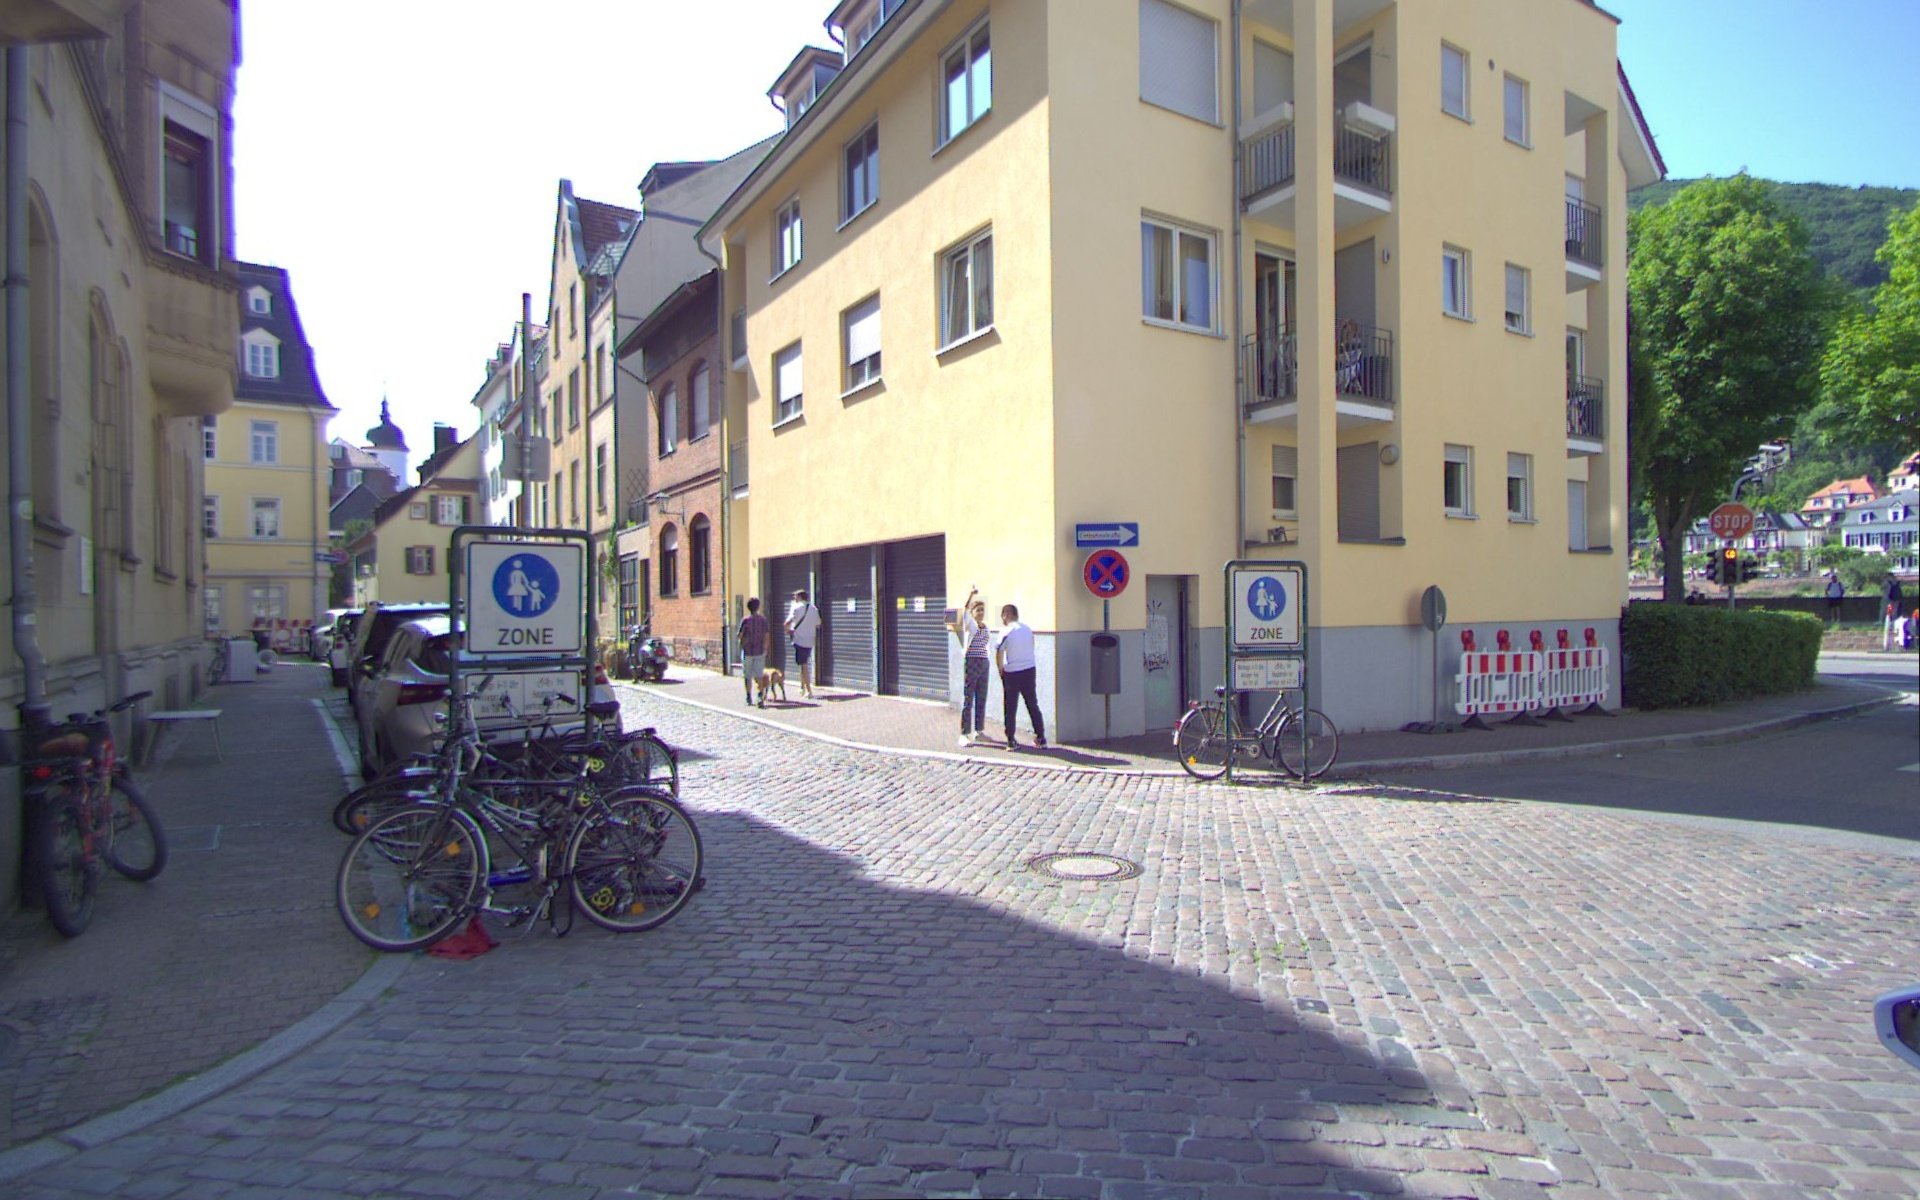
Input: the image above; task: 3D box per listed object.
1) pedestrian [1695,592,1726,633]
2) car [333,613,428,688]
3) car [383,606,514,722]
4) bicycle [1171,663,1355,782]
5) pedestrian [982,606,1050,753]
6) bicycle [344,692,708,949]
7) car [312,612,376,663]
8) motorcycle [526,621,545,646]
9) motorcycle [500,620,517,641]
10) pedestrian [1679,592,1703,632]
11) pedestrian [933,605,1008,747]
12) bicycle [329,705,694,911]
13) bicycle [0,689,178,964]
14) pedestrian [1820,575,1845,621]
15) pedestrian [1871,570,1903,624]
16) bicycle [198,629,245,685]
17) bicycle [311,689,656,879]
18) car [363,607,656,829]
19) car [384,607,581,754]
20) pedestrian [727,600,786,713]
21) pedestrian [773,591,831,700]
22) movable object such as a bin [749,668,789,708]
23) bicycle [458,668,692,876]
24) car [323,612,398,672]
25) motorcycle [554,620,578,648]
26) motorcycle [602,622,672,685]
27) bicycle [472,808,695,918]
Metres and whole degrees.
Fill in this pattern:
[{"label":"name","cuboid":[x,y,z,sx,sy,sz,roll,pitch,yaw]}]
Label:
[{"label":"pedestrian","cuboid":[28.247,0.469,37.818,1.369,1.499,0.464,0,0,-32]},{"label":"car","cuboid":[-13.018,1.066,22.464,1.645,1.462,3.825,1,0,-33]},{"label":"car","cuboid":[-8.586,0.962,16.711,1.552,1.657,3.825,1,0,-33]},{"label":"bicycle","cuboid":[3.055,1.205,10.106,1.879,1.093,0.390,0,-1,-17]},{"label":"pedestrian","cuboid":[0.640,0.892,11.514,0.646,1.639,0.491,0,0,-17]},{"label":"bicycle","cuboid":[-2.102,1.052,5.017,1.617,1.100,0.284,0,3,-20]},{"label":"car","cuboid":[-19.849,1.166,32.322,1.645,1.462,3.825,1,0,-33]},{"label":"motorcycle","cuboid":[-17.078,1.357,40.398,0.382,0.958,1.340,3,-2,-35]},{"label":"motorcycle","cuboid":[-21.243,1.429,47.257,0.382,0.958,1.556,3,-2,-35]},{"label":"pedestrian","cuboid":[27.752,0.454,38.144,0.795,1.513,0.464,0,0,-32]},{"label":"pedestrian","cuboid":[0.121,0.879,12.079,0.680,1.639,0.753,0,0,-20]},{"label":"bicycle","cuboid":[-2.439,1.112,5.561,1.632,1.085,0.286,1,42,-45]},{"label":"bicycle","cuboid":[-4.445,1.056,5.142,0.491,1.100,1.627,5,-4,-33]},{"label":"pedestrian","cuboid":[33.769,-0.059,38.886,0.700,1.755,0.752,0,0,44]},{"label":"pedestrian","cuboid":[32.872,-0.100,35.632,0.753,1.882,0.754,0,0,37]},{"label":"bicycle","cuboid":[-15.702,1.195,21.375,0.476,1.113,1.596,1,0,-24]},{"label":"bicycle","cuboid":[-2.770,1.047,5.924,1.632,1.085,0.286,1,42,-45]},{"label":"car","cuboid":[-4.299,0.860,9.222,1.833,1.564,3.891,0,-1,-34]},{"label":"car","cuboid":[-6.360,0.908,13.136,1.833,1.565,3.964,1,0,-33]},{"label":"pedestrian","cuboid":[-3.342,0.911,16.480,0.612,1.768,0.854,3,0,-31]},{"label":"pedestrian","cuboid":[-2.666,0.750,16.922,0.612,1.768,0.854,3,0,-31]},{"label":"movable object such as a bin","cuboid":[-3.203,1.454,16.791,0.296,0.571,1.234,1,0,-28]},{"label":"bicycle","cuboid":[-2.539,1.090,6.826,0.281,1.100,1.639,-3,1,28]},{"label":"car","cuboid":[-16.672,1.107,27.863,1.645,1.462,4.033,1,0,-33]},{"label":"motorcycle","cuboid":[-14.195,1.229,36.181,0.383,0.958,1.338,3,-2,-38]},{"label":"motorcycle","cuboid":[-7.062,1.144,21.899,0.591,1.265,2.455,3,-2,-38]},{"label":"bicycle","cuboid":[-2.151,1.488,5.832,1.106,0.291,1.074,0,-1,-20]}]
